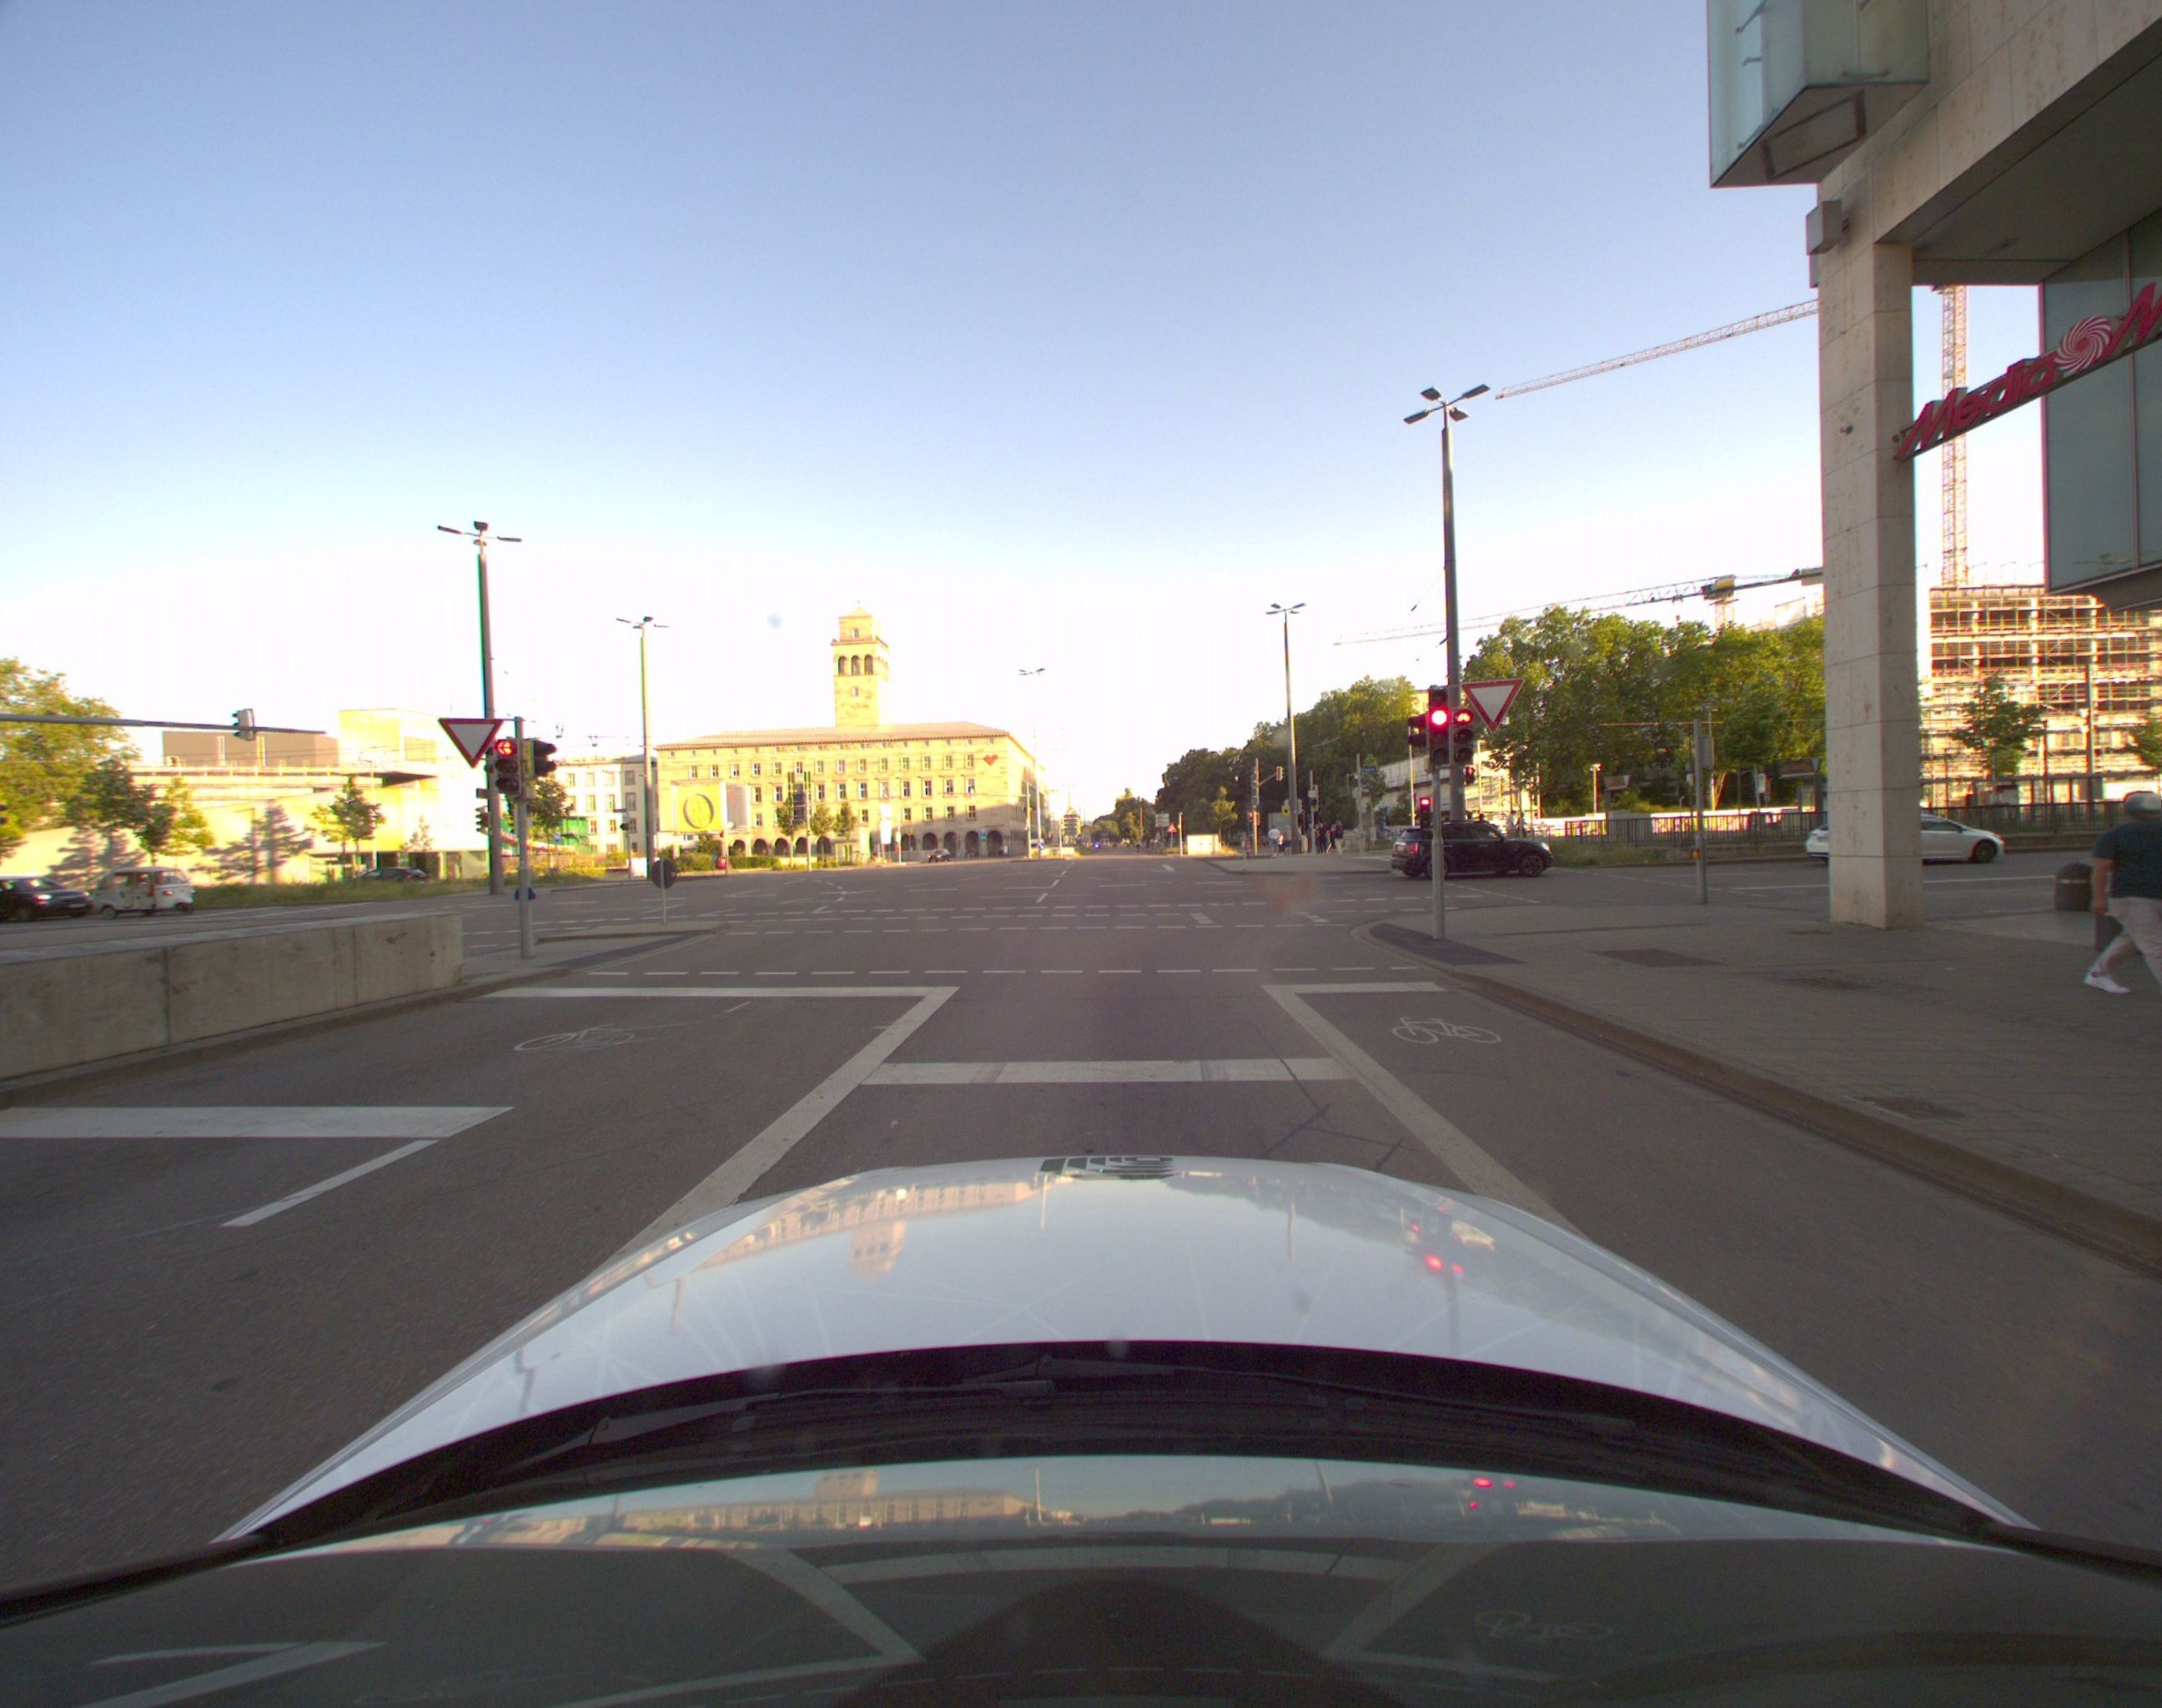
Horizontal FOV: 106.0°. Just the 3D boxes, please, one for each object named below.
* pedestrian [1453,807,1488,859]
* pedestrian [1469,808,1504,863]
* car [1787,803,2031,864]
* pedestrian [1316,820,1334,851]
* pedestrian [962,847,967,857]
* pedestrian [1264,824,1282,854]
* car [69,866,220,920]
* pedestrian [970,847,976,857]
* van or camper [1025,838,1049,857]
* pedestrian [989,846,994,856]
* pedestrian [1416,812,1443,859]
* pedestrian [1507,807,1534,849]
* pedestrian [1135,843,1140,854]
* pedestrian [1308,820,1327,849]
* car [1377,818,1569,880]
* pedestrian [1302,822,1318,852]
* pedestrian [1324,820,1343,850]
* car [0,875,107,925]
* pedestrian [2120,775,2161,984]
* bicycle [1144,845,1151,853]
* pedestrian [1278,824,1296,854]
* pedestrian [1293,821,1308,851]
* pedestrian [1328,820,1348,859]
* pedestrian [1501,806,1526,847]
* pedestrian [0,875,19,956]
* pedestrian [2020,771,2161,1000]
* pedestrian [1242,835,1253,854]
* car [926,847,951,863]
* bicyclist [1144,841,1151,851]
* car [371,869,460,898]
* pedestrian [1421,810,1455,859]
[{"bbox_3d":[14.094,-0.766,29.475,0.890,1.840,0.687,-2,1,-2],"label":"pedestrian"},{"bbox_3d":[13.862,-0.630,27.831,0.884,1.830,0.692,-2,1,38],"label":"pedestrian"},{"bbox_3d":[23.551,-0.581,23.311,4.779,1.495,2.129,-2,1,1],"label":"car"},{"bbox_3d":[14.176,-1.086,47.376,0.805,1.729,0.688,-2,1,1],"label":"pedestrian"},{"bbox_3d":[-17.494,-0.308,122.321,0.631,1.567,0.776,-2,1,3],"label":"pedestrian"},{"bbox_3d":[11.136,-0.878,47.290,0.805,1.729,0.688,-2,1,0],"label":"pedestrian"},{"bbox_3d":[-33.436,1.367,29.172,3.133,1.685,1.605,-2,1,-12],"label":"car"},{"bbox_3d":[-16.207,-0.303,122.245,0.631,1.567,0.776,-2,1,3],"label":"pedestrian"},{"bbox_3d":[-6.931,-1.025,128.943,1.868,2.760,4.957,-2,1,20],"label":"van or camper"},{"bbox_3d":[-14.877,-0.501,134.874,0.772,1.567,0.634,-2,1,-8],"label":"pedestrian"},{"bbox_3d":[13.138,-0.689,30.742,0.682,1.729,0.898,-2,1,7],"label":"pedestrian"},{"bbox_3d":[18.757,-1.098,34.770,0.682,1.729,0.840,-2,1,7],"label":"pedestrian"},{"bbox_3d":[7.080,-0.735,101.744,0.521,1.374,0.687,-2,1,-2],"label":"pedestrian"},{"bbox_3d":[14.200,-1.162,48.857,0.690,1.729,0.803,-3,1,-31],"label":"pedestrian"},{"bbox_3d":[11.034,-0.156,23.176,4.444,1.495,2.129,-2,1,1],"label":"car"},{"bbox_3d":[13.349,-1.009,47.464,0.802,1.729,0.691,-2,1,14],"label":"pedestrian"},{"bbox_3d":[14.874,-1.108,47.967,0.689,1.729,0.804,-2,1,-24],"label":"pedestrian"},{"bbox_3d":[-37.967,1.659,28.957,4.176,1.592,1.693,-2,1,-7],"label":"car"},{"bbox_3d":[9.568,0.200,6.792,0.753,1.776,0.741,-5,1,3],"label":"pedestrian"},{"bbox_3d":[8.216,-0.582,100.248,0.650,0.970,1.484,-2,1,-1],"label":"bicycle"},{"bbox_3d":[11.960,-0.858,47.351,0.805,1.729,0.688,-2,1,0],"label":"pedestrian"},{"bbox_3d":[12.991,-1.056,48.199,0.802,1.729,0.691,-2,1,14],"label":"pedestrian"},{"bbox_3d":[11.704,-0.678,37.081,0.689,1.729,0.742,-2,1,4],"label":"pedestrian"},{"bbox_3d":[18.914,-1.206,35.619,0.682,1.729,0.840,-2,1,6],"label":"pedestrian"},{"bbox_3d":[-24.111,1.380,17.702,0.862,1.776,0.737,-5,1,-14],"label":"pedestrian"},{"bbox_3d":[8.705,0.226,6.760,0.857,1.776,0.741,-5,1,3],"label":"pedestrian"},{"bbox_3d":[15.660,-0.899,76.622,0.805,1.729,0.929,-2,1,0],"label":"pedestrian"},{"bbox_3d":[-16.757,0.095,96.069,1.985,1.661,4.004,-2,1,3],"label":"car"},{"bbox_3d":[8.181,-1.004,100.226,0.650,1.223,0.861,-2,1,-2],"label":"bicyclist"},{"bbox_3d":[-38.714,1.723,47.433,3.707,1.452,1.543,-2,1,-5],"label":"car"},{"bbox_3d":[13.002,-0.702,29.655,0.890,1.729,0.688,-2,1,-1],"label":"pedestrian"}]
